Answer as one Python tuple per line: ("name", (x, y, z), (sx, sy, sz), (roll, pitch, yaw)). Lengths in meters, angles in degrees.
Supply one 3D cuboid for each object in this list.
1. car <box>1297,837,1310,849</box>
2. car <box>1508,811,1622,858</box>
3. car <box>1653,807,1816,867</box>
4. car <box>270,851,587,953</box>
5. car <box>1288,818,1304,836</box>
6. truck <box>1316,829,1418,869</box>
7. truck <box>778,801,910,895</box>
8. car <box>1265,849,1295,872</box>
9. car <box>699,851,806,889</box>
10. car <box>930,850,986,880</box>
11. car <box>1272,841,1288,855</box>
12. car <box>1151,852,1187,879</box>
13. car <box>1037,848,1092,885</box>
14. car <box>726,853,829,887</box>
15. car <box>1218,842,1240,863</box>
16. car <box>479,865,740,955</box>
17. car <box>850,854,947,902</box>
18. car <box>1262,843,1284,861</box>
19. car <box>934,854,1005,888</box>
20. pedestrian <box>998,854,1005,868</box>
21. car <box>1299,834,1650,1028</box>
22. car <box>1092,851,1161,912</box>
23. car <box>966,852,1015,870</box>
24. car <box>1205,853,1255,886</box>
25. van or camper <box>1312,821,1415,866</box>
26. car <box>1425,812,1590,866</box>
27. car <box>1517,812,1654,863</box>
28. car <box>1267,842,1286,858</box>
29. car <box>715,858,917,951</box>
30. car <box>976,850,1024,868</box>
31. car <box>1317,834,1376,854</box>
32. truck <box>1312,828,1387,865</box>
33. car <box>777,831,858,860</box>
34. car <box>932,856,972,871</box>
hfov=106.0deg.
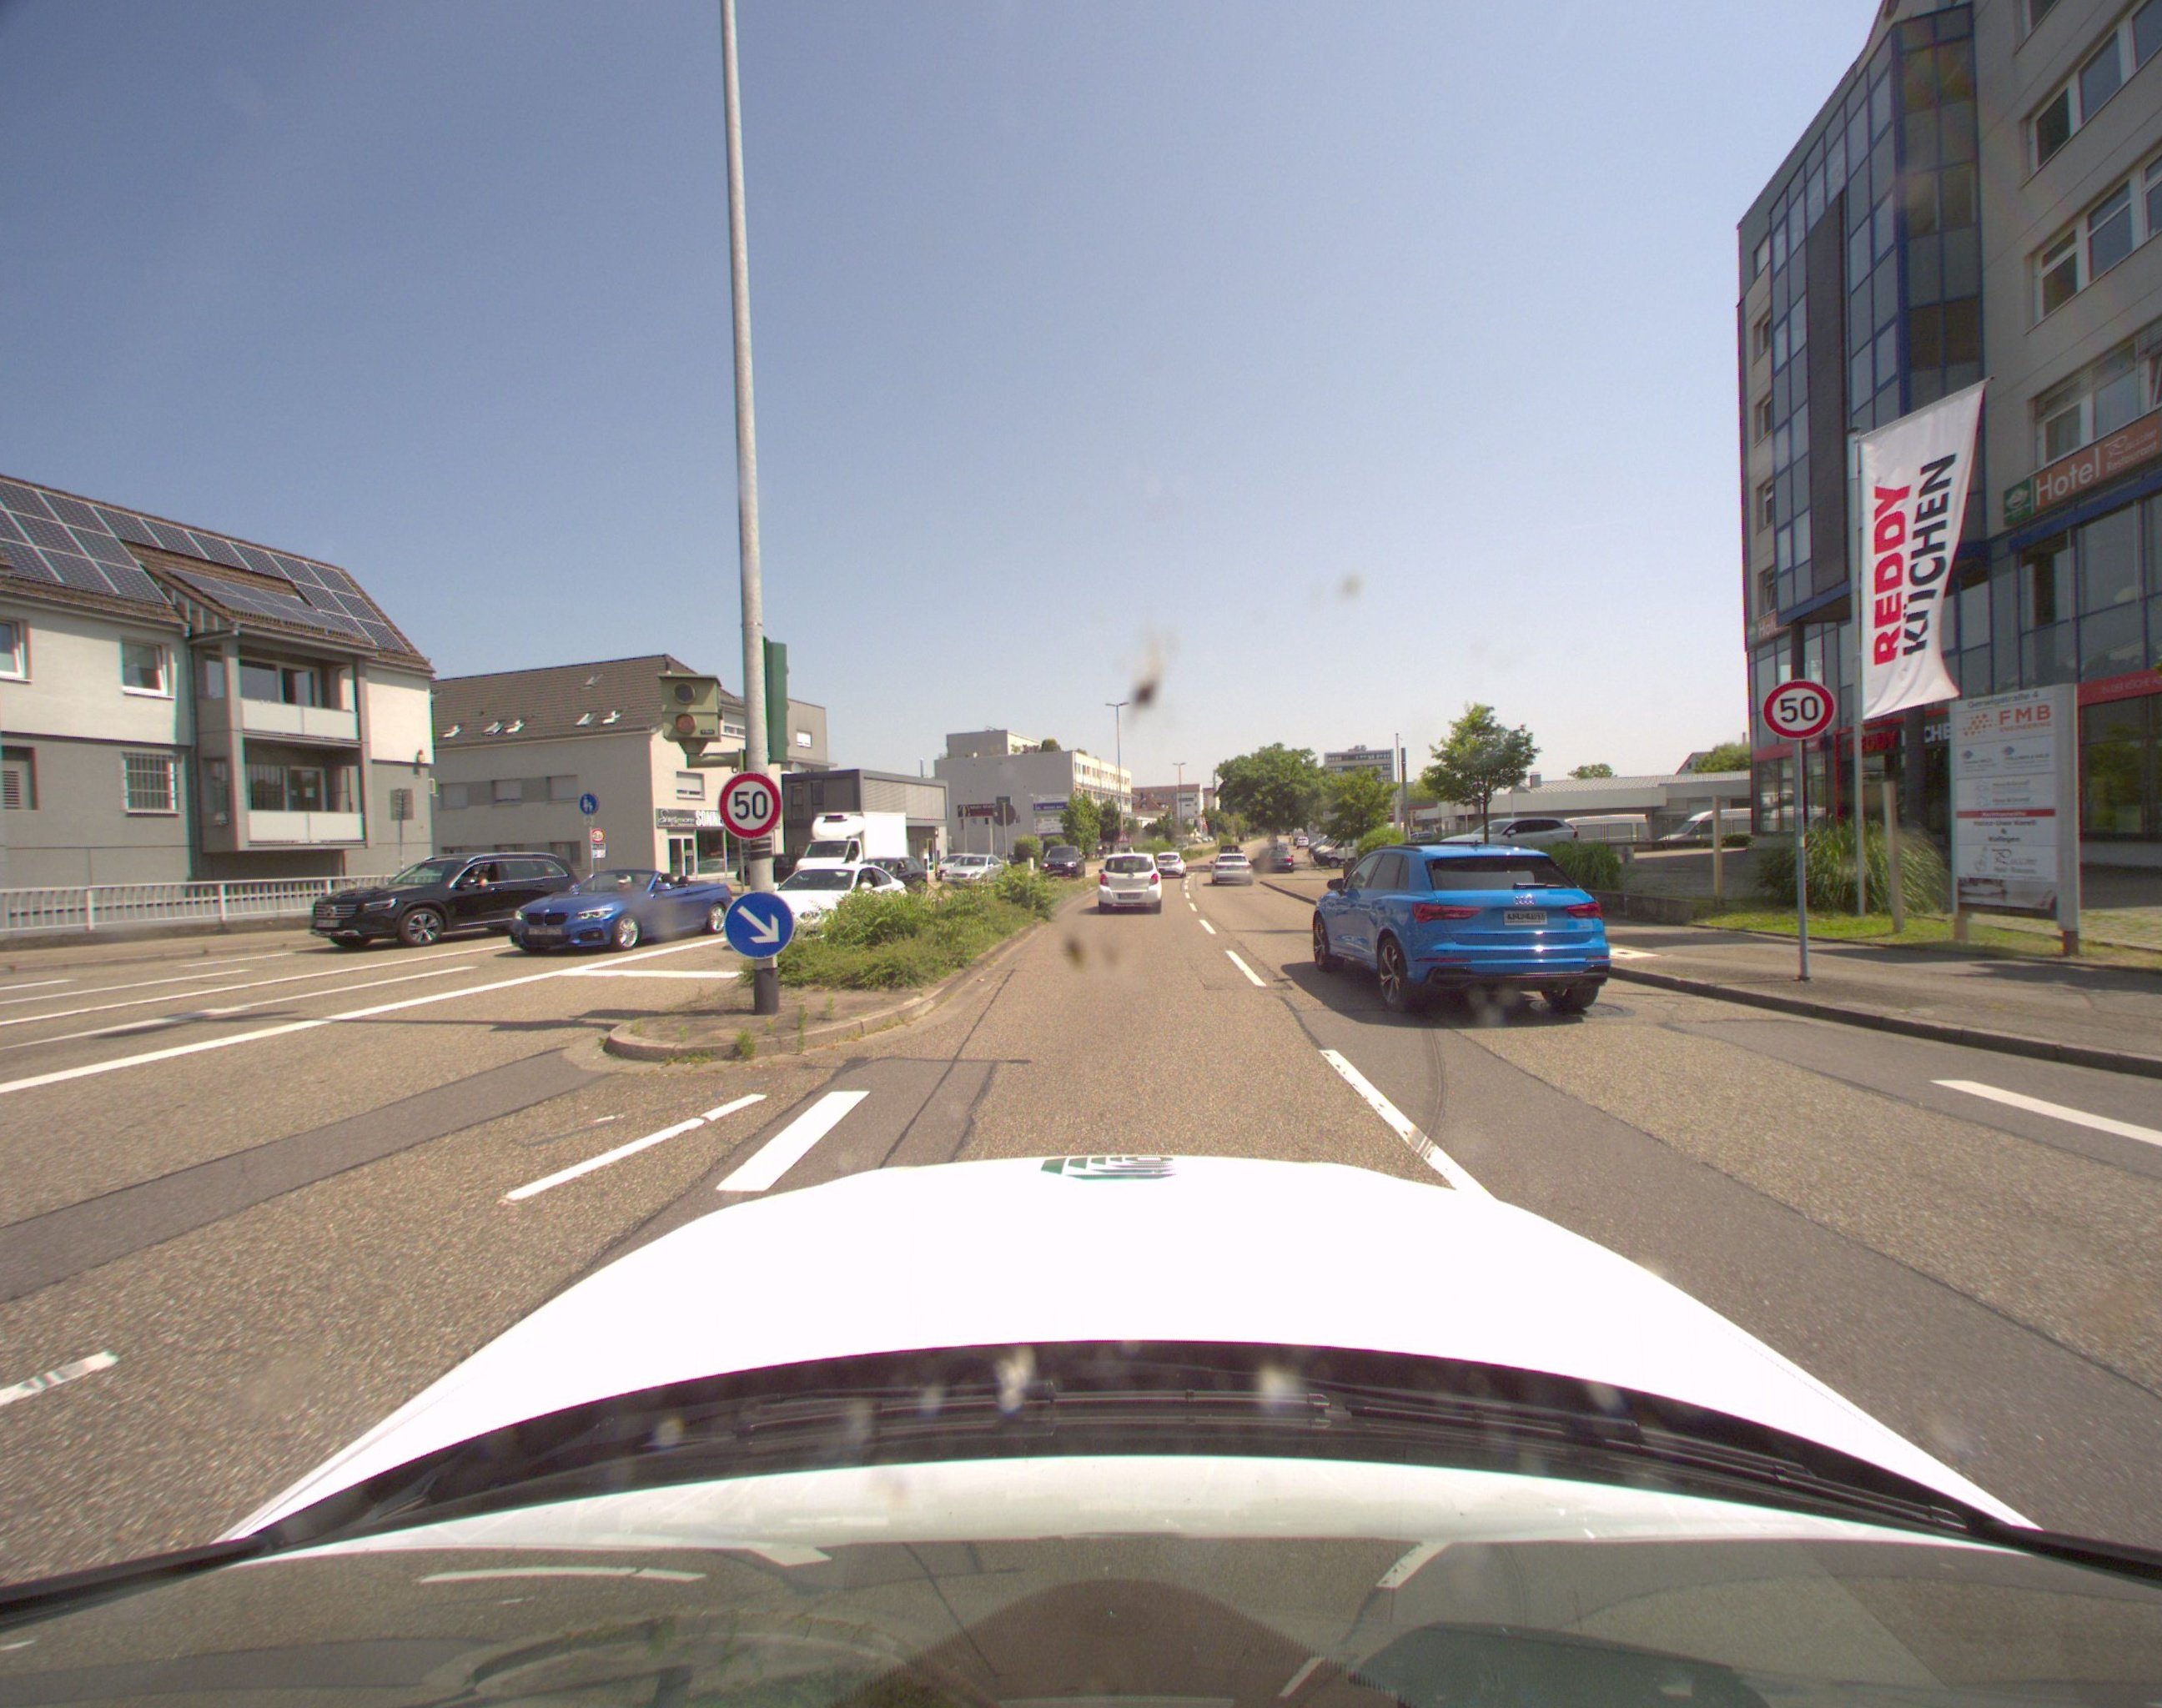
("car", (31.312, -1.594, 114.875), (1.655, 1.596, 4.632), (-3, 1, 15))
("car", (27.411, -1.037, 46.306), (5.241, 2.536, 2.046), (-1, -1, 16))
("car", (32.684, -0.800, 40.943), (6.070, 2.810, 2.008), (-1, -1, 16))
("car", (-12.433, 0.814, 16.024), (1.980, 1.656, 4.609), (-1, 0, 12))
("car", (38.511, -4.761, 145.858), (2.118, 2.839, 7.336), (-9, -1, 13))
("truck", (19.057, -0.351, 54.623), (6.198, 2.336, 2.379), (-3, 1, 16))
("truck", (-9.393, -0.187, 33.224), (2.251, 3.417, 7.058), (-1, -1, 10))
("car", (12.603, 0.380, 51.647), (1.785, 1.406, 4.336), (0, 1, 13))
("car", (-15.987, 0.751, 39.691), (4.573, 1.627, 1.861), (2, 1, 14))
("car", (-6.784, 0.566, 45.430), (1.886, 1.566, 4.208), (-1, 0, 8))
("car", (23.746, -0.699, 97.197), (1.701, 1.548, 4.808), (-3, 0, 13))
("car", (4.972, 0.615, 46.501), (1.822, 1.450, 4.004), (-1, 0, 3))
("car", (-0.779, 0.623, 41.603), (1.897, 1.751, 4.772), (-1, -1, 10))
("car", (-15.546, 0.796, 41.846), (4.582, 1.496, 1.756), (2, 1, 6))
("car", (12.679, -0.168, 69.877), (1.784, 1.729, 3.982), (-1, 0, 9))
("car", (-8.161, 0.893, 14.682), (1.854, 1.366, 4.353), (-1, -1, 6))
("car", (-6.030, 0.748, 27.483), (1.793, 1.439, 4.584), (-1, 0, 6))
("car", (19.241, -0.249, 81.458), (1.946, 1.530, 5.182), (-4, 0, 15))
("car", (-4.723, 0.689, 35.116), (1.886, 1.361, 4.208), (-1, 0, 8))
("pedestrian", (-9.118, 0.792, 93.537), (0.542, 1.657, 0.627), (-1, -1, 13))
("car", (3.883, 0.651, 9.037), (1.905, 1.597, 4.398), (-1, 0, 2))
("car", (1.204, 0.698, 21.784), (1.705, 1.511, 3.249), (0, -1, 2))
("car", (-7.987, 0.622, 72.269), (3.962, 1.459, 1.580), (-2, -1, 9))
("car", (6.676, 0.672, 36.799), (1.660, 1.399, 3.795), (-1, 0, 2))
("van or camper", (20.346, -0.759, 59.001), (6.748, 2.897, 2.284), (-2, 1, 14))
("car", (14.317, -0.481, 27.447), (4.726, 1.713, 1.993), (0, -1, -11))
("car", (26.591, -0.809, 43.195), (5.839, 2.528, 2.129), (-1, -1, 17))
("car", (20.630, -0.436, 86.084), (1.842, 1.481, 5.174), (-2, 1, 12))
("car", (-4.715, 0.816, 15.353), (1.854, 1.431, 4.752), (-1, 0, 5))
("car", (-7.449, 0.496, 74.981), (3.965, 1.371, 1.677), (-4, 1, 17))
("car", (27.817, -1.030, 85.452), (5.846, 2.013, 2.270), (0, 1, 18))
("truck", (20.332, -0.581, 61.948), (5.207, 2.435, 2.120), (-3, 0, 16))
("car", (-15.494, -0.500, 47.984), (4.030, 1.521, 2.006), (-2, 0, 11))
("car", (-14.469, 1.044, 91.711), (3.948, 1.467, 1.969), (-2, 1, 9))
